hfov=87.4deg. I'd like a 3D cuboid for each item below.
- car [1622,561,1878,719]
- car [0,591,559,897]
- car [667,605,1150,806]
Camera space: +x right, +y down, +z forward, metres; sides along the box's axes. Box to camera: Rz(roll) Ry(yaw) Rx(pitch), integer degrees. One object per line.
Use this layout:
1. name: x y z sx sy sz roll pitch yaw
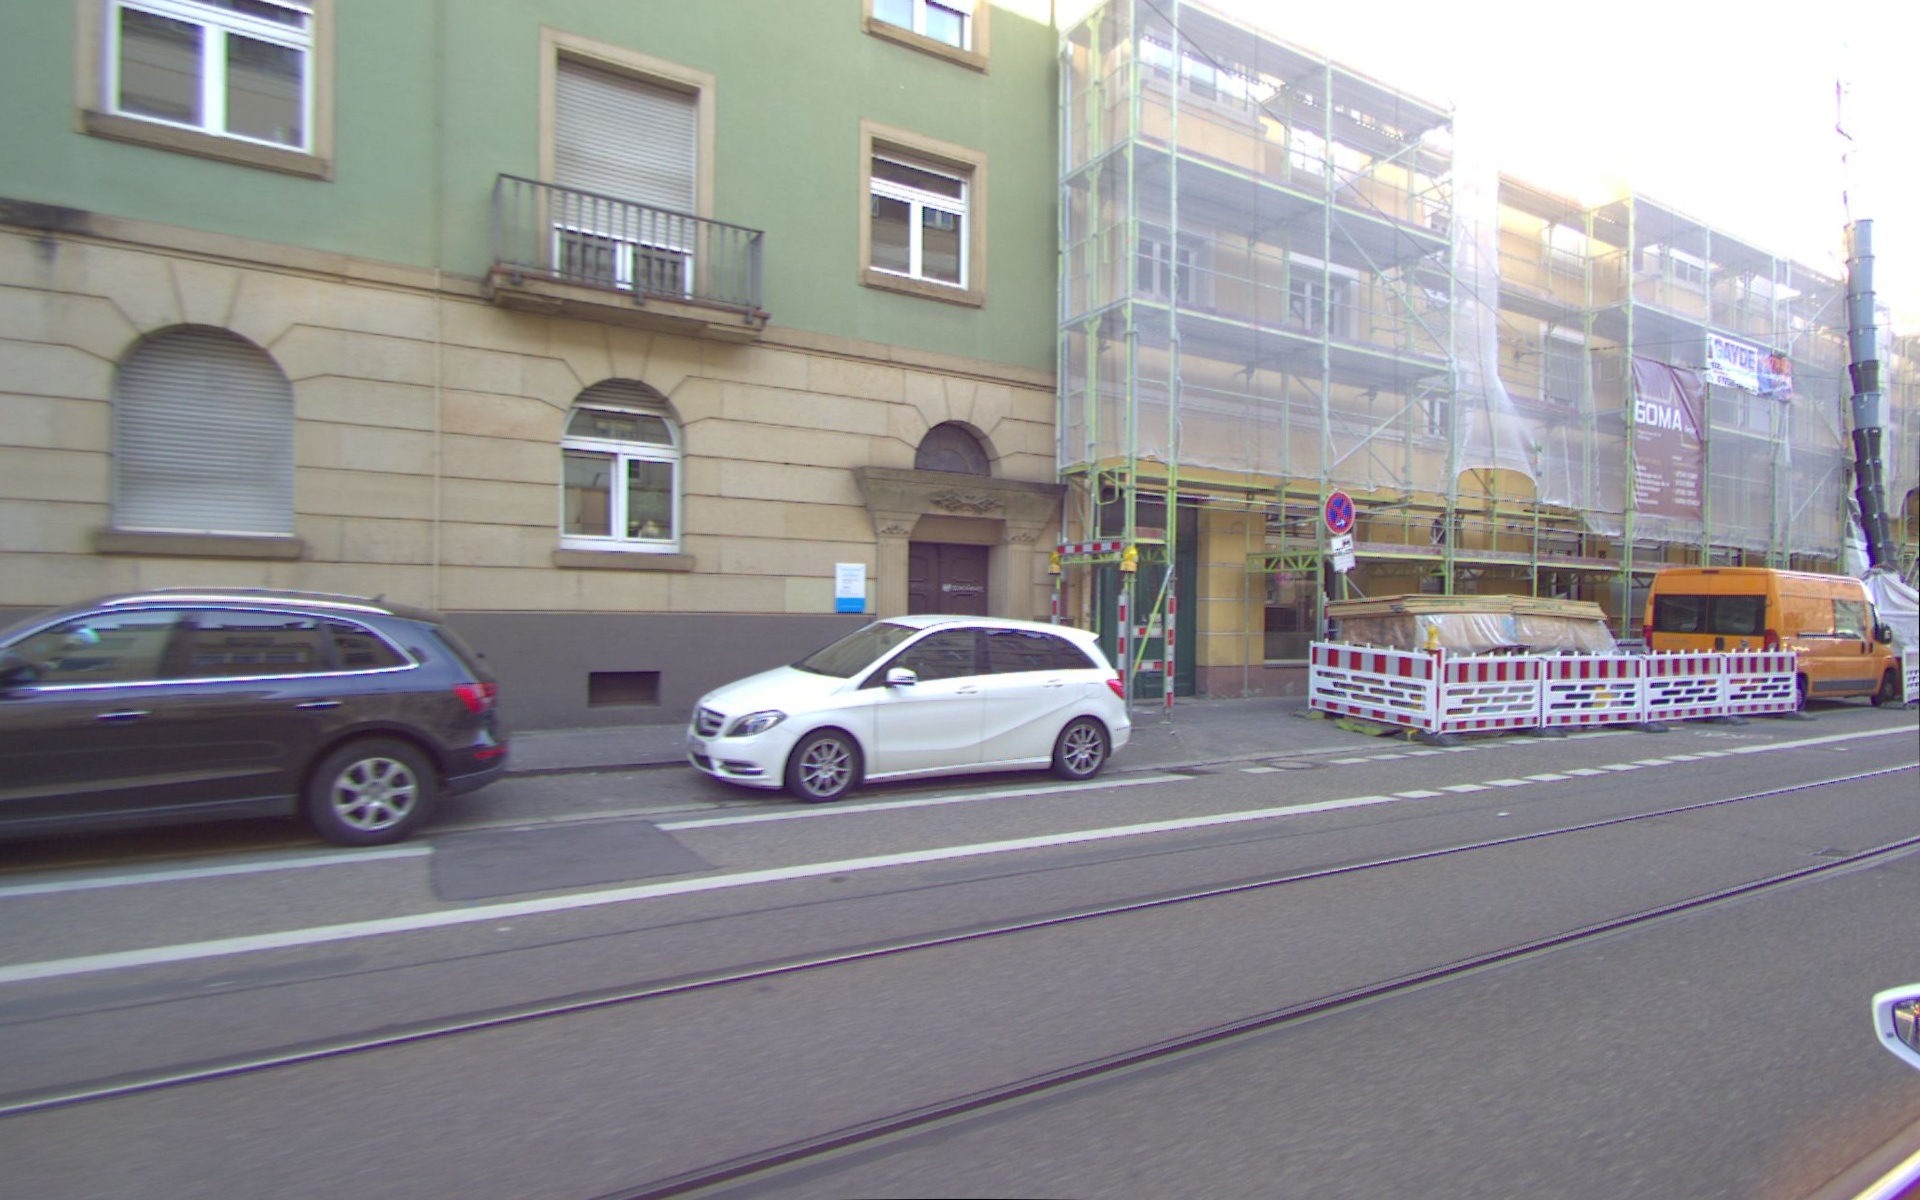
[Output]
1. car: 14.329 0.660 18.152 4.926 2.508 2.132 1 0 -33
2. car: -5.235 0.800 6.630 4.559 1.648 1.773 1 1 -33
3. car: -0.428 0.859 9.672 4.334 1.523 1.710 1 1 -29
